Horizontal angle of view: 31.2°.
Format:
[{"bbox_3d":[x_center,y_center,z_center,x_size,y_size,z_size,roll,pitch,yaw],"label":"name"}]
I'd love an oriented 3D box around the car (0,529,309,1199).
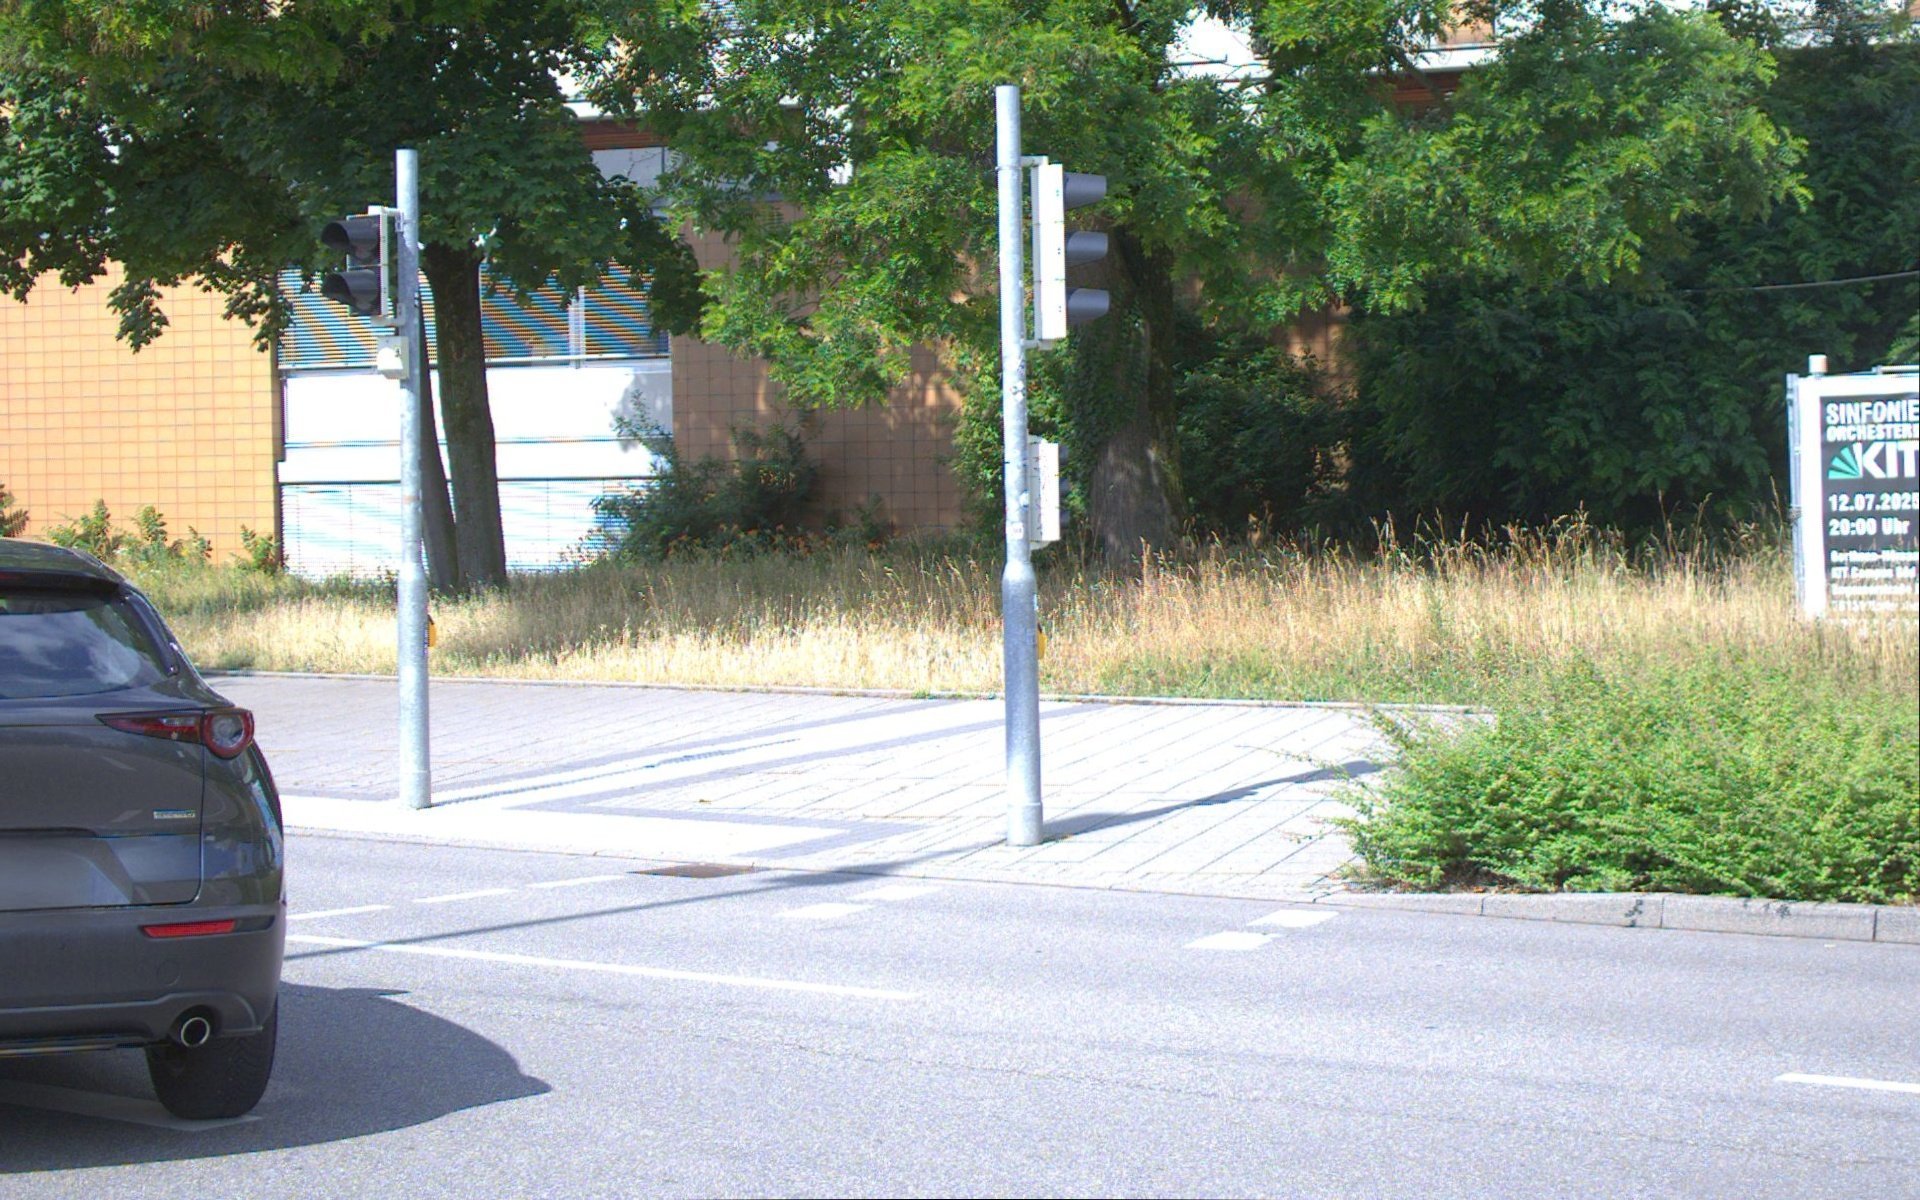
[{"bbox_3d":[-3.234,0.585,9.545,1.806,1.503,4.206,-1,1,-25],"label":"car"}]
